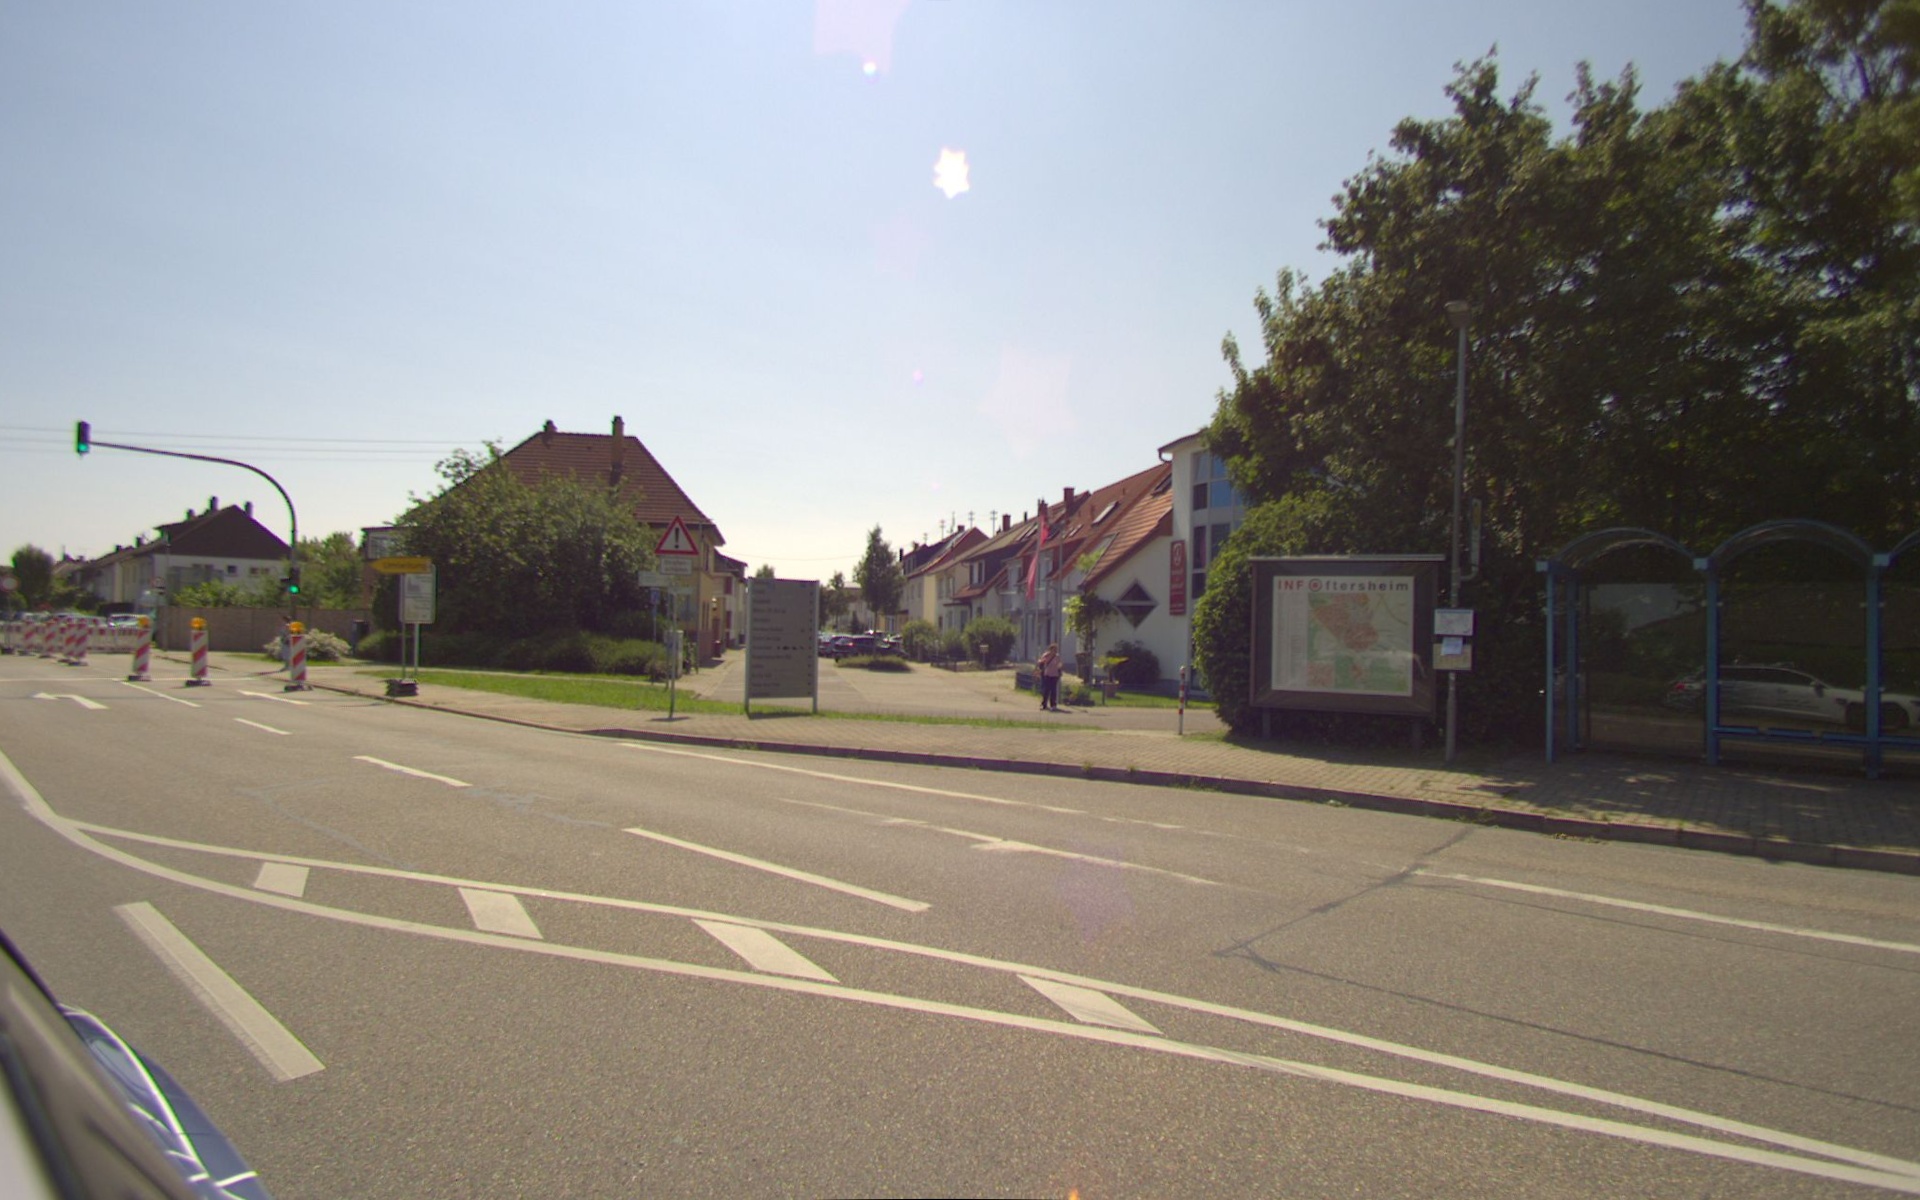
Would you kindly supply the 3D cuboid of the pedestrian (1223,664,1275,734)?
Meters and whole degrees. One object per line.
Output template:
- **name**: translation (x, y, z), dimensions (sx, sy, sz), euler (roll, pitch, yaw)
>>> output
- **pedestrian**: translation (6.765, 2.304, 23.692), dimensions (0.776, 1.578, 0.926), euler (2, -3, -19)

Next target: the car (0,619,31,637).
- **car**: translation (-85.119, 2.521, 91.161), dimensions (3.915, 1.525, 1.716), euler (-1, -3, 41)

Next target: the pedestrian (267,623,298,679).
- **pedestrian**: translation (-20.353, 1.518, 30.396), dimensions (0.688, 1.620, 0.607), euler (-1, 0, 43)

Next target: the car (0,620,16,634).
- **car**: translation (-99.244, 2.815, 104.842), dimensions (3.915, 1.428, 1.716), euler (-1, -3, 41)

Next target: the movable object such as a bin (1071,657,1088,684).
- **movable object such as a bin**: translation (4.923, 2.904, 41.769), dimensions (0.562, 1.070, 0.395), euler (-1, -3, 36)

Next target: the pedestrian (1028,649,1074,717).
- **pedestrian**: translation (2.406, 2.187, 26.822), dimensions (0.944, 1.753, 0.818), euler (1, -2, -17)

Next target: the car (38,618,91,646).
- **car**: translation (-54.952, 1.944, 62.089), dimensions (4.227, 1.603, 1.838), euler (-1, -4, 41)

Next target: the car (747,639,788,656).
- **car**: translation (-16.907, 4.218, 89.015), dimensions (1.380, 1.424, 3.520), euler (-1, -3, 39)

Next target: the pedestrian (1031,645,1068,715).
- **pedestrian**: translation (2.426, 2.159, 27.449), dimensions (0.791, 1.835, 0.711), euler (1, -2, -16)

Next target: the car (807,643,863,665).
- **car**: translation (-7.845, 3.389, 63.439), dimensions (3.282, 1.342, 1.426), euler (2, -3, -17)

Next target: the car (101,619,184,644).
- **car**: translation (-54.278, 2.103, 67.285), dimensions (1.765, 1.628, 3.950), euler (-1, -3, 37)

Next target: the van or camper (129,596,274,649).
- **van or camper**: translation (-43.402, 1.324, 58.066), dimensions (2.284, 2.866, 6.190), euler (-1, -2, 34)
